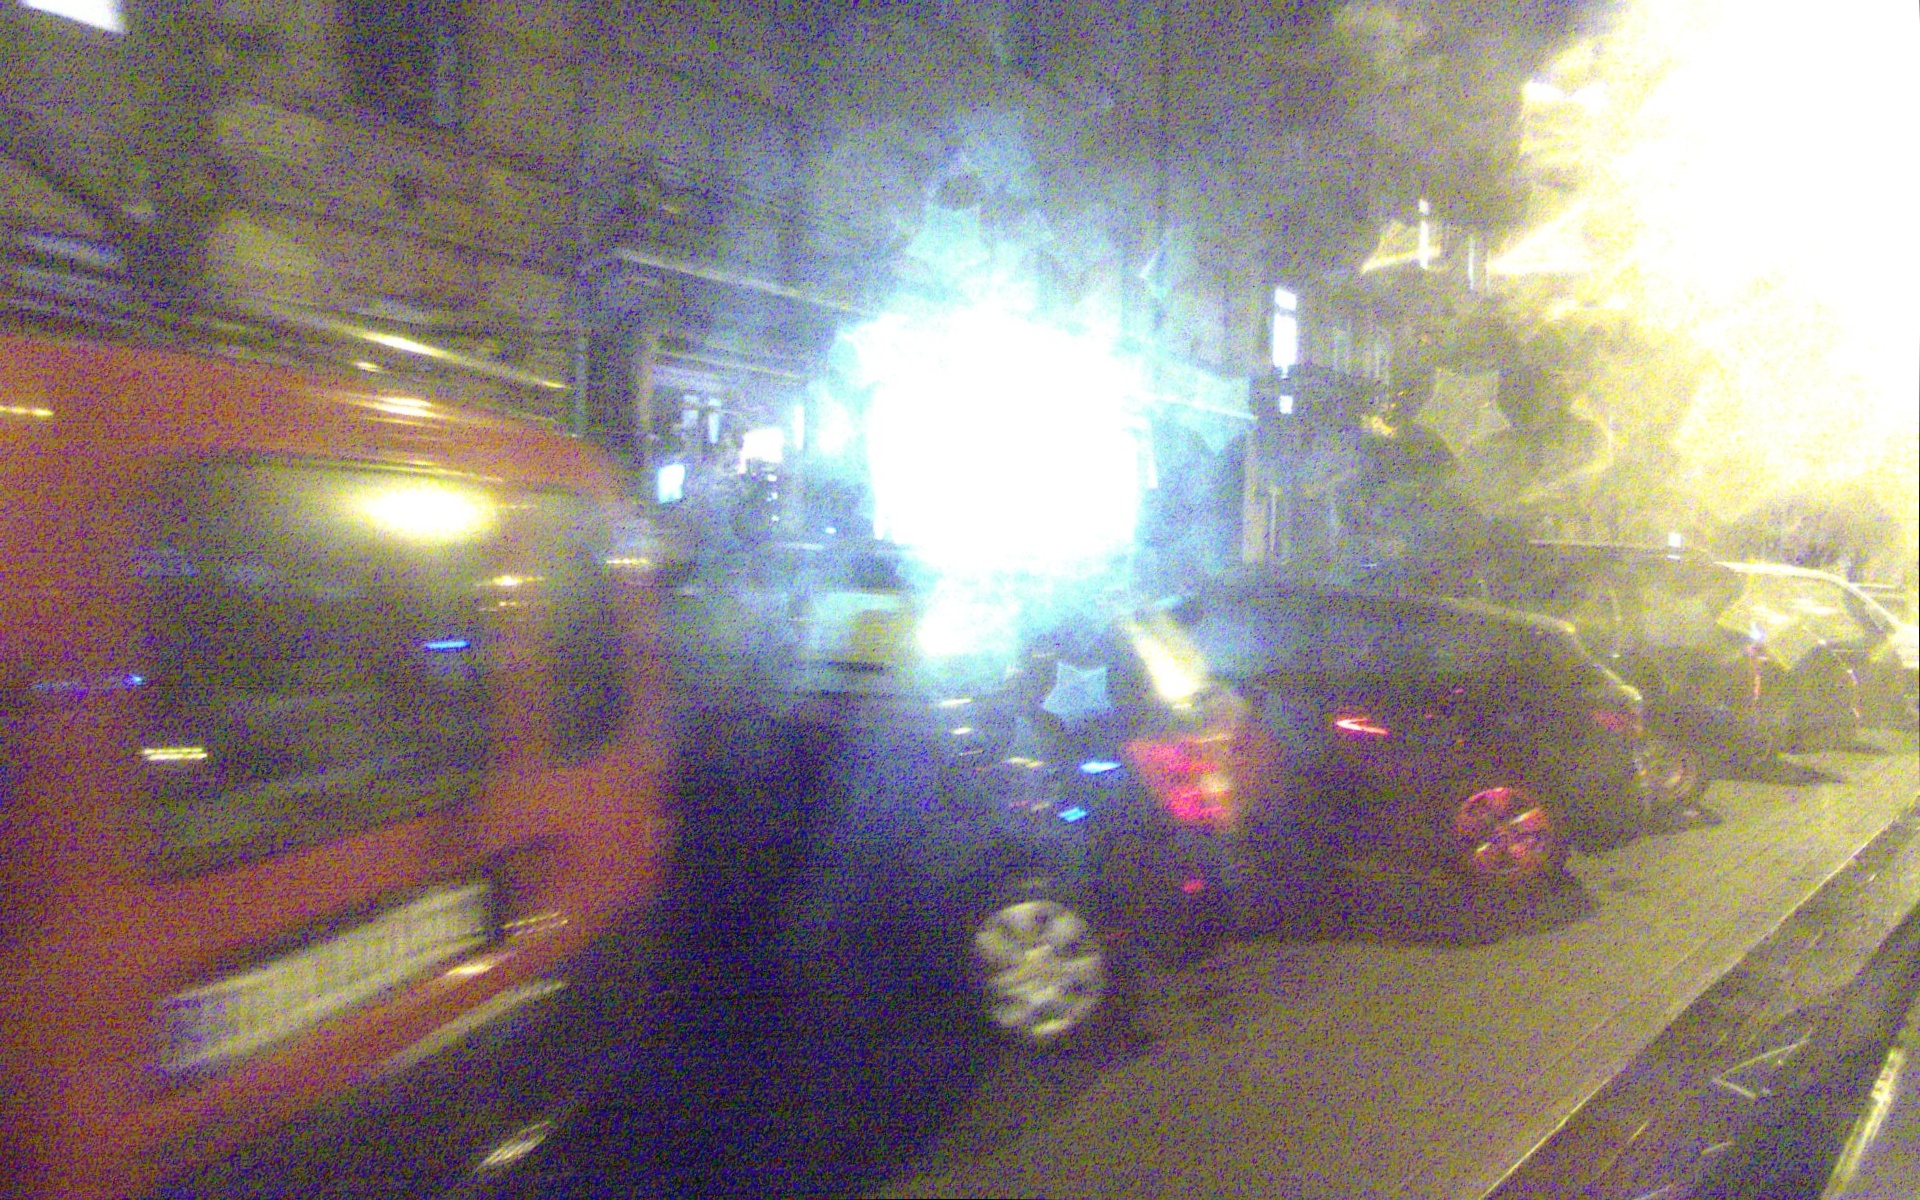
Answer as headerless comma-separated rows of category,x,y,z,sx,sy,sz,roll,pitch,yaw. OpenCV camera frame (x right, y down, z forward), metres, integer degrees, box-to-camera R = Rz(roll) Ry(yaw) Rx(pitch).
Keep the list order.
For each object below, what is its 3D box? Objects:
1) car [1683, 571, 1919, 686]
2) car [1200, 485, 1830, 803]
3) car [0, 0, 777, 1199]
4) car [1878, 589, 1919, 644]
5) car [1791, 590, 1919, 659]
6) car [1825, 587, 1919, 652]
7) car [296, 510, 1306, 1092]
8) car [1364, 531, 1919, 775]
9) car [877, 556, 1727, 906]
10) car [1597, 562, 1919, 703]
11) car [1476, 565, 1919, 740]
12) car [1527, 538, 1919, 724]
car,14.656,0.444,16.883,3.899,1.639,1.694,4,3,28
car,3.948,0.214,7.951,3.875,1.966,1.737,4,2,13
car,-2.499,0.216,2.261,3.687,2.053,1.714,4,2,15
car,30.035,0.605,29.892,3.897,1.581,1.695,4,3,27
car,22.888,0.620,24.489,3.897,1.481,1.695,4,3,27
car,25.569,0.575,26.601,3.897,1.581,1.695,4,3,27
car,-0.581,0.480,4.132,3.657,1.470,1.649,4,3,18
car,6.081,0.373,9.540,3.875,1.814,1.737,4,2,13
car,1.693,0.553,5.888,3.999,1.471,1.671,2,1,15
car,12.143,0.409,15.409,3.899,1.763,1.694,4,3,28
car,8.256,0.491,11.513,3.880,1.568,1.735,4,3,16
car,10.295,0.324,13.222,4.656,2.004,1.966,4,3,21
